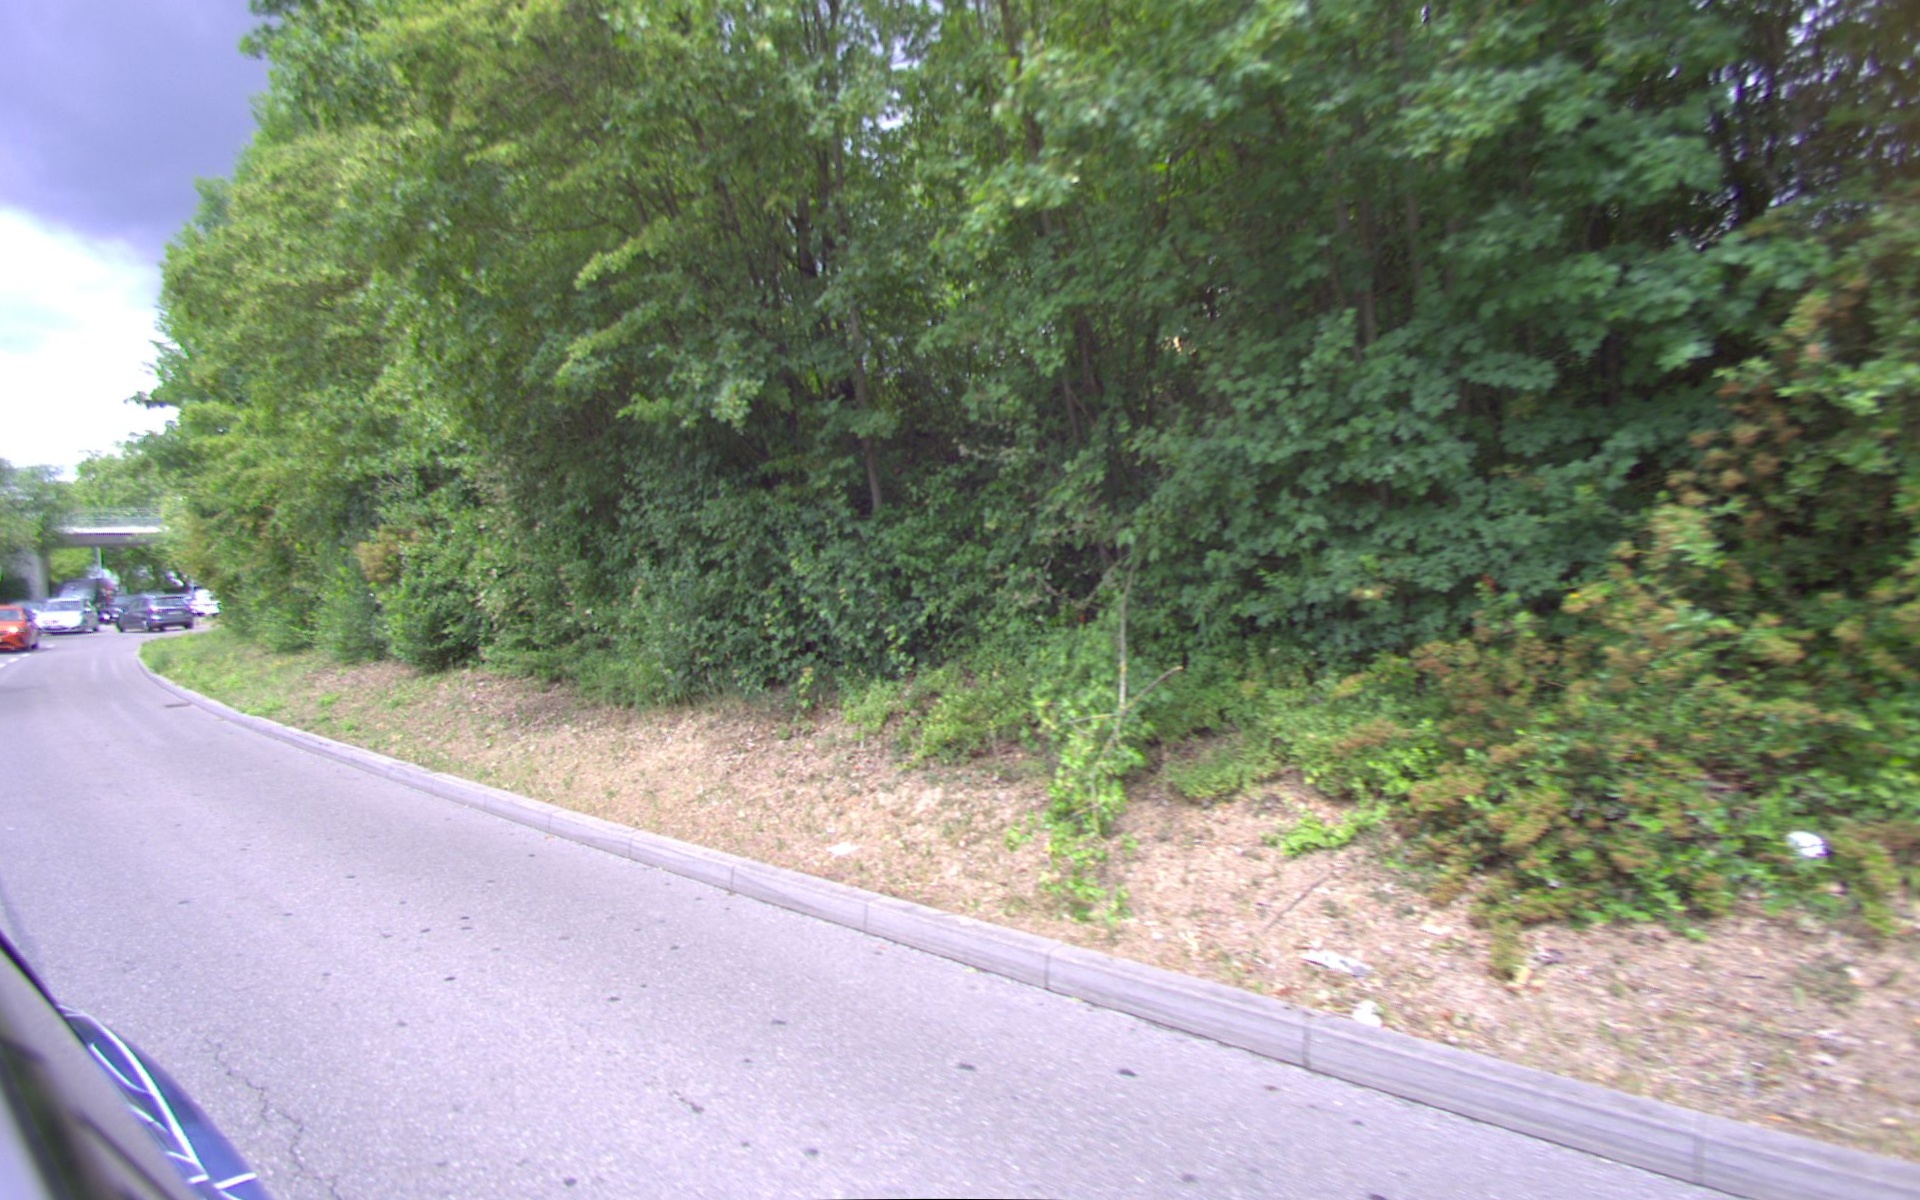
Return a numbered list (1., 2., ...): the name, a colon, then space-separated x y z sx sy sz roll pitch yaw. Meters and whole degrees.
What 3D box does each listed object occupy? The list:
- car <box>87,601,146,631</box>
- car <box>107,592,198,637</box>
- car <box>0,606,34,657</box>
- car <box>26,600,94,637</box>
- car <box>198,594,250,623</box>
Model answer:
1. car: -46.863 0.851 56.312 1.751 1.430 4.013 -4 3 -29
2. car: -35.485 0.663 44.469 4.106 1.673 1.740 -3 4 32
3. car: -30.068 0.968 31.365 1.836 1.453 4.002 -3 2 -45
4. car: -39.680 0.772 44.696 1.752 1.462 4.010 -3 2 -36
5. car: -40.676 0.441 56.014 1.783 1.415 4.061 -3 2 -29
